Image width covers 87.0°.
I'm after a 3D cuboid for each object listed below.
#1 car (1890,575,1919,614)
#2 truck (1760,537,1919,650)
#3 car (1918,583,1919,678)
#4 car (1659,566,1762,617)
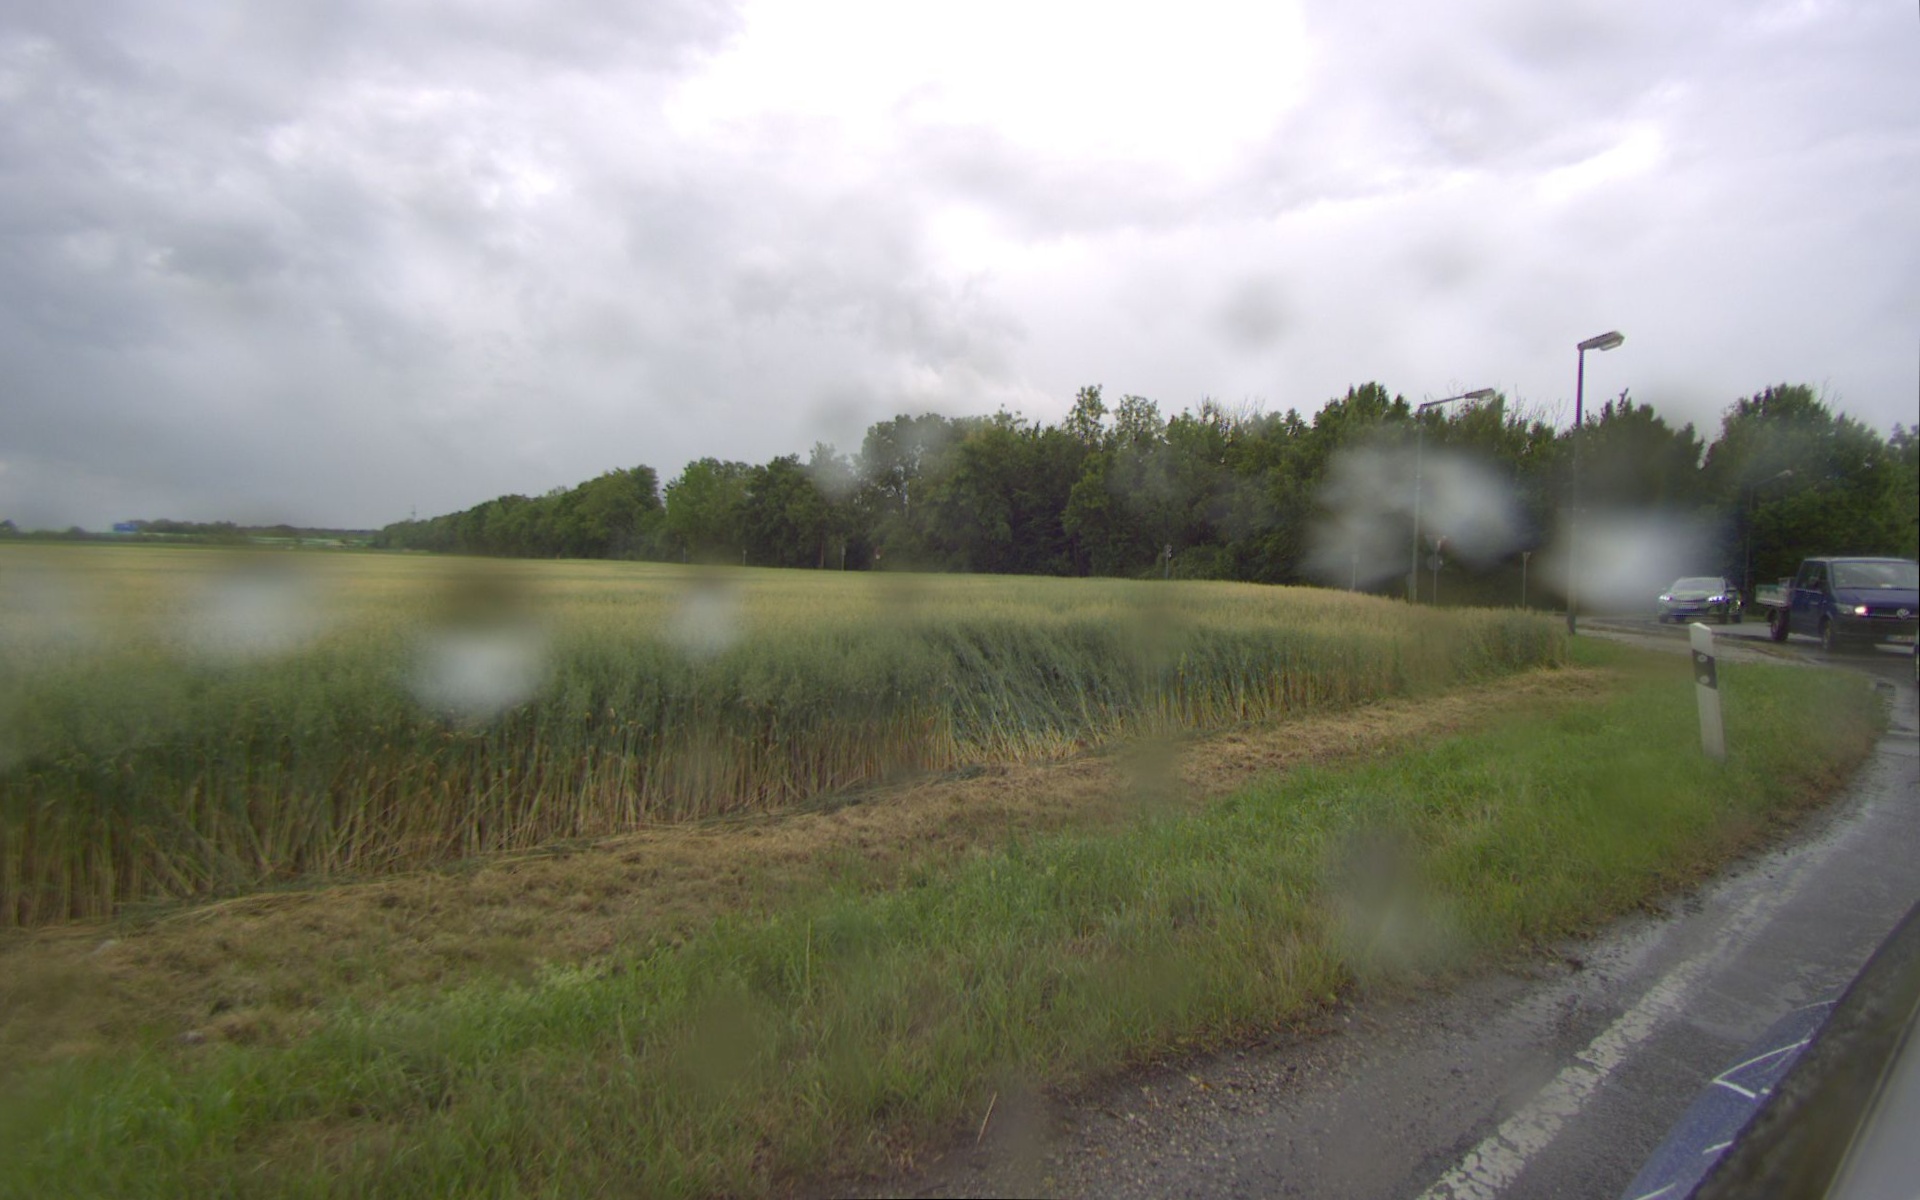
[{"bbox_3d":[39.807,-0.192,40.105,4.411,1.550,1.896,1,1,-7],"label":"car"},{"bbox_3d":[19.116,-0.154,21.434,2.055,2.088,5.721,0,0,25],"label":"truck"},{"bbox_3d":[14.129,0.486,13.143,1.882,1.509,4.138,1,2,36],"label":"car"},{"bbox_3d":[24.658,-0.280,33.159,5.168,1.550,1.889,0,1,-44],"label":"car"}]
